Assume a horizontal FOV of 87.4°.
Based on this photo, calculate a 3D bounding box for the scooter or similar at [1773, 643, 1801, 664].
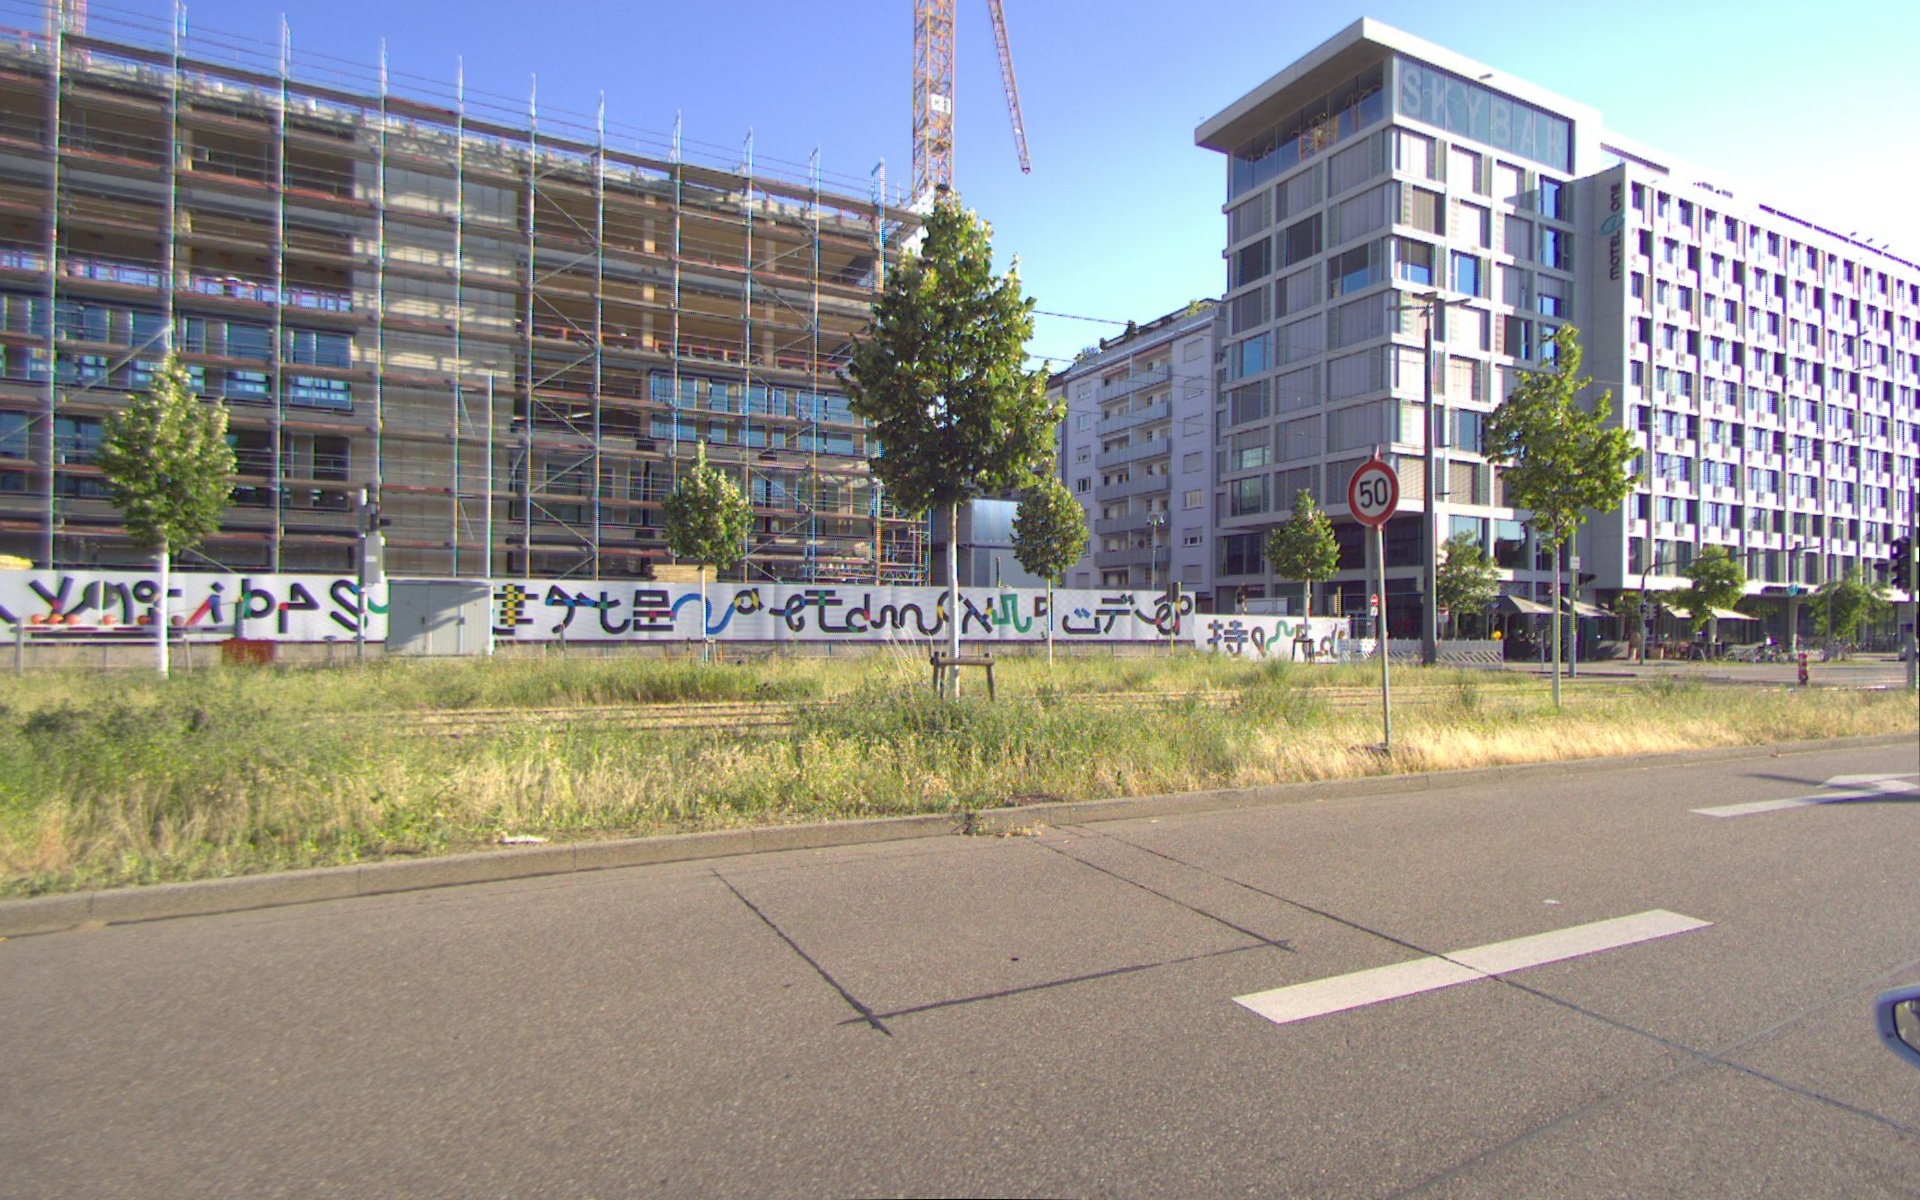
[{"bbox_3d":[50.386,3.255,61.200,0.400,1.187,1.239,1,-1,-26],"label":"scooter or similar"}]

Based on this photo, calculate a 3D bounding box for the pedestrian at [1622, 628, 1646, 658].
[{"bbox_3d":[40.200,2.576,59.892,0.791,1.744,0.869,1,-1,-18],"label":"pedestrian"}]

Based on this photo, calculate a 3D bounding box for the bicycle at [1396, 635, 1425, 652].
[{"bbox_3d":[26.389,2.545,58.845,1.877,0.948,0.533,1,-1,-28],"label":"bicycle"}]

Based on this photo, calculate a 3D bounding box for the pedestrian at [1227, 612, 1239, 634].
[{"bbox_3d":[18.960,1.627,69.826,0.569,1.518,0.585,1,-1,-23],"label":"pedestrian"}]

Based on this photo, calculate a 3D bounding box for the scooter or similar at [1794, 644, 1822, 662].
[{"bbox_3d":[52.608,3.277,62.319,0.429,1.033,1.239,1,-2,-26],"label":"scooter or similar"}]

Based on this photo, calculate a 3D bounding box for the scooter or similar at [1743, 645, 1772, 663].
[{"bbox_3d":[47.279,3.221,59.577,0.504,1.033,1.239,1,-2,-26],"label":"scooter or similar"}]

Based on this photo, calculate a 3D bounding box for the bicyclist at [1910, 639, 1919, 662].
[{"bbox_3d":[61.297,3.232,64.159,0.840,1.484,0.623,1,-1,-27],"label":"bicyclist"}]

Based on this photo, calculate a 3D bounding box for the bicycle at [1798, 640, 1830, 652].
[{"bbox_3d":[66.325,3.549,78.022,0.506,0.917,1.794,1,-1,-33],"label":"bicycle"}]

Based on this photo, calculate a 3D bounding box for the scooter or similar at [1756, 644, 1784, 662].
[{"bbox_3d":[48.602,3.184,60.303,0.429,1.033,1.239,1,-2,-26],"label":"scooter or similar"}]

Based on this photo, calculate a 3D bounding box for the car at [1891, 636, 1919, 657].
[{"bbox_3d":[66.253,3.200,69.295,3.949,1.346,1.750,1,0,-27],"label":"car"}]

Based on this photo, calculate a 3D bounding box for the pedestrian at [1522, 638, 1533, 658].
[{"bbox_3d":[35.135,2.953,62.186,0.491,1.238,0.430,1,-1,-27],"label":"pedestrian"}]

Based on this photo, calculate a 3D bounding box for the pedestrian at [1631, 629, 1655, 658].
[{"bbox_3d":[40.928,2.593,60.187,0.791,1.744,0.869,1,-1,-18],"label":"pedestrian"}]

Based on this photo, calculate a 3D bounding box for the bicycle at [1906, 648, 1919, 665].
[{"bbox_3d":[61.277,3.614,64.143,2.051,1.081,0.622,1,-1,-27],"label":"bicycle"}]
